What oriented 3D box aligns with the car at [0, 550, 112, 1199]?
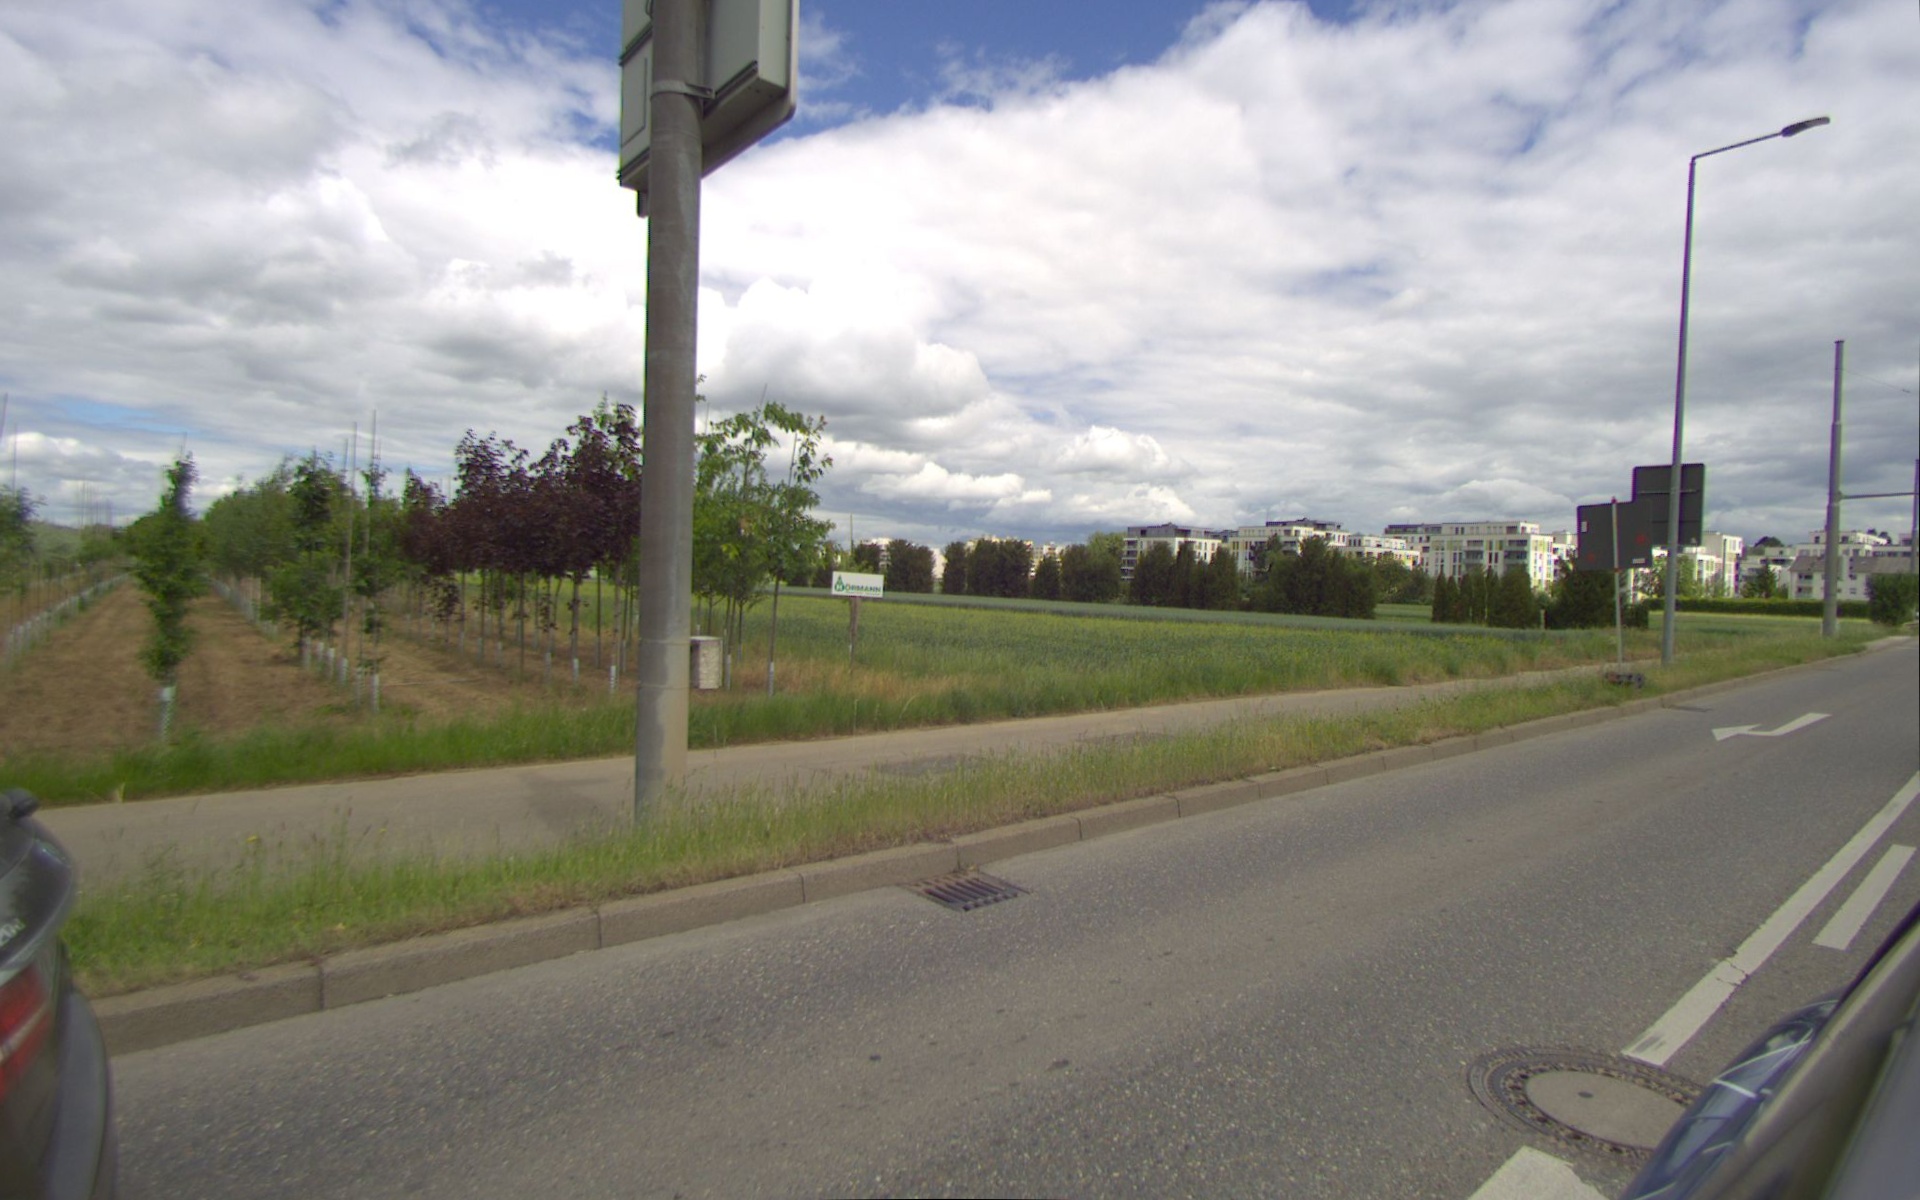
[{"bbox_3d":[-3.543,0.631,0.180,5.112,1.458,1.875,0,2,-43],"label":"car"}]
